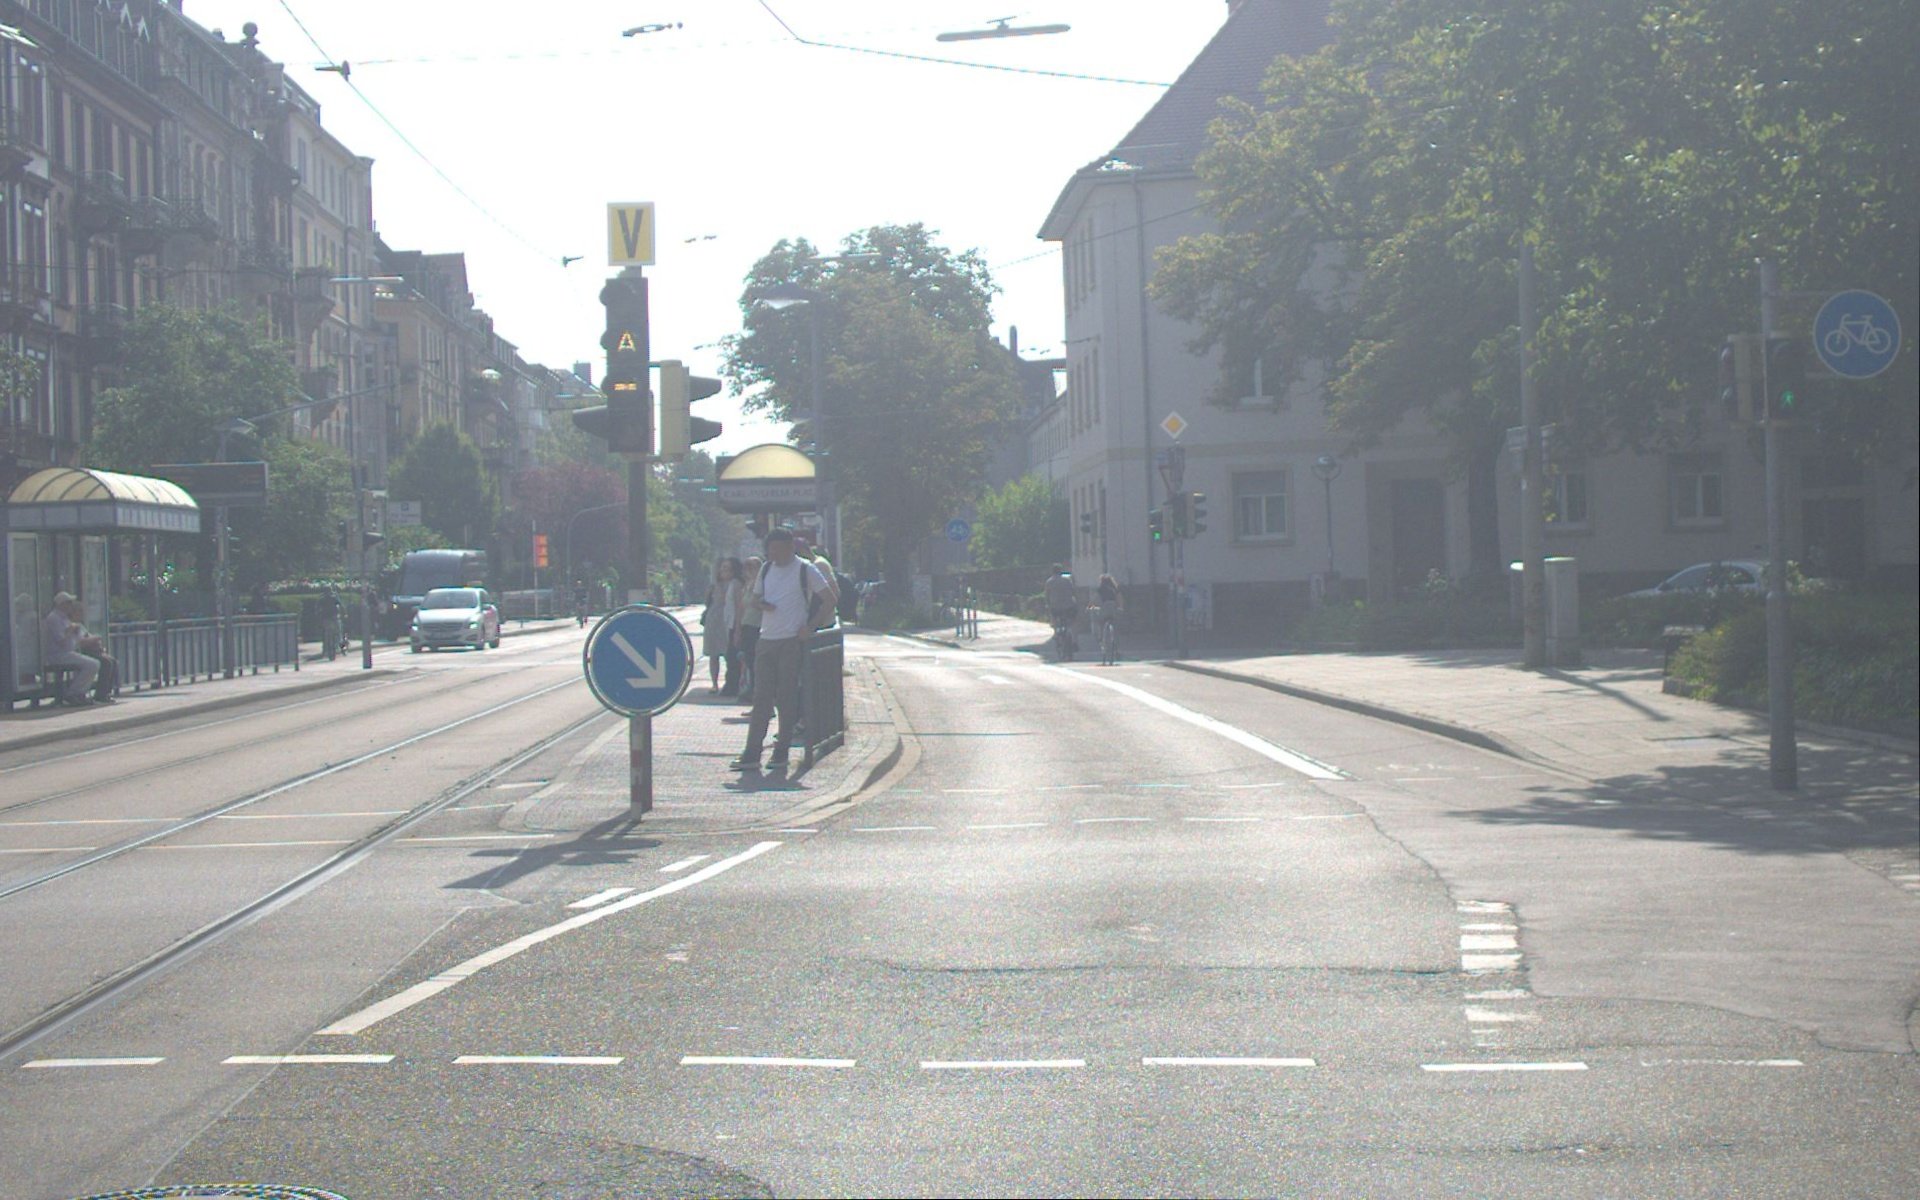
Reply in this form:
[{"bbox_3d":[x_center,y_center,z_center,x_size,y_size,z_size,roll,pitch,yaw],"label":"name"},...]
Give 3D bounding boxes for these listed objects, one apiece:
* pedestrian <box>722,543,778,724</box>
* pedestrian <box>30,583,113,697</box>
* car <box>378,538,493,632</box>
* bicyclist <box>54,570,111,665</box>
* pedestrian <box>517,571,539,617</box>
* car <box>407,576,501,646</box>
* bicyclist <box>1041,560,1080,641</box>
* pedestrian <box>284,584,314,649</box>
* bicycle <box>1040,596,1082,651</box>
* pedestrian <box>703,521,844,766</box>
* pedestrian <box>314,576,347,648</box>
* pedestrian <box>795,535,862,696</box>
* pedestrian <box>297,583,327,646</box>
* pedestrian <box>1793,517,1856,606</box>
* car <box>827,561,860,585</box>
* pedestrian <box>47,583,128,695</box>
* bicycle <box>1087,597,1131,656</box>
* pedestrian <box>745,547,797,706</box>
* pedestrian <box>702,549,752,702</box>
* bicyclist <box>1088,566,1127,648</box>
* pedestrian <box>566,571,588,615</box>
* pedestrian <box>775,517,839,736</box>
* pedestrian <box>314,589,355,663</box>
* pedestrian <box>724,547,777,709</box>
[{"bbox_3d":[-2.076,0.323,34.035,0.504,1.753,0.534,1,3,-1],"label":"pedestrian"},{"bbox_3d":[-10.741,0.477,41.575,0.827,1.354,0.776,-2,0,-6],"label":"pedestrian"},{"bbox_3d":[-15.361,-0.455,100.931,2.347,2.653,5.104,-1,0,2],"label":"car"},{"bbox_3d":[-17.316,0.345,67.840,0.986,1.851,0.493,-2,0,-22],"label":"bicyclist"},{"bbox_3d":[-16.436,-0.248,130.770,0.750,1.725,0.772,-2,0,-10],"label":"pedestrian"},{"bbox_3d":[-12.603,0.251,85.757,1.801,1.648,3.642,-2,0,-1],"label":"car"},{"bbox_3d":[1.885,0.003,64.460,0.629,1.502,0.678,-2,1,-3],"label":"bicyclist"},{"bbox_3d":[-17.993,0.441,93.573,0.750,1.725,0.772,-2,0,-10],"label":"pedestrian"},{"bbox_3d":[1.891,0.437,64.465,0.629,0.974,1.770,-2,1,-3],"label":"bicycle"},{"bbox_3d":[-1.356,0.300,25.074,0.701,1.719,0.747,3,3,31],"label":"pedestrian"},{"bbox_3d":[-15.384,0.286,83.975,0.750,1.725,0.772,-2,0,-10],"label":"pedestrian"},{"bbox_3d":[-1.462,0.172,38.239,0.709,1.753,0.534,1,3,-1],"label":"pedestrian"},{"bbox_3d":[-18.156,0.404,96.333,0.750,1.725,0.772,-2,0,-10],"label":"pedestrian"},{"bbox_3d":[17.114,-0.760,68.076,0.893,1.734,0.774,-1,0,44],"label":"pedestrian"},{"bbox_3d":[-8.689,-1.999,256.900,1.994,1.777,3.999,0,0,5],"label":"car"},{"bbox_3d":[-10.791,0.472,42.551,0.827,1.354,0.776,-2,0,-6],"label":"pedestrian"},{"bbox_3d":[2.582,0.460,59.755,0.558,0.974,1.856,-2,1,-3],"label":"bicycle"},{"bbox_3d":[-2.129,0.294,38.852,0.543,1.753,0.534,1,3,-1],"label":"pedestrian"},{"bbox_3d":[-2.727,0.290,40.263,0.532,1.753,0.545,1,3,0],"label":"pedestrian"},{"bbox_3d":[2.565,0.116,59.766,0.558,1.412,0.872,-2,1,-3],"label":"bicyclist"},{"bbox_3d":[-14.888,-0.274,133.713,0.750,1.725,0.772,-2,0,-10],"label":"pedestrian"},{"bbox_3d":[-1.302,0.221,29.341,0.504,1.827,0.534,1,3,-1],"label":"pedestrian"},{"bbox_3d":[-14.689,0.607,80.730,0.750,1.725,0.771,-1,0,1],"label":"pedestrian"},{"bbox_3d":[-2.320,0.307,38.041,0.543,1.753,0.534,1,3,-1],"label":"pedestrian"}]
